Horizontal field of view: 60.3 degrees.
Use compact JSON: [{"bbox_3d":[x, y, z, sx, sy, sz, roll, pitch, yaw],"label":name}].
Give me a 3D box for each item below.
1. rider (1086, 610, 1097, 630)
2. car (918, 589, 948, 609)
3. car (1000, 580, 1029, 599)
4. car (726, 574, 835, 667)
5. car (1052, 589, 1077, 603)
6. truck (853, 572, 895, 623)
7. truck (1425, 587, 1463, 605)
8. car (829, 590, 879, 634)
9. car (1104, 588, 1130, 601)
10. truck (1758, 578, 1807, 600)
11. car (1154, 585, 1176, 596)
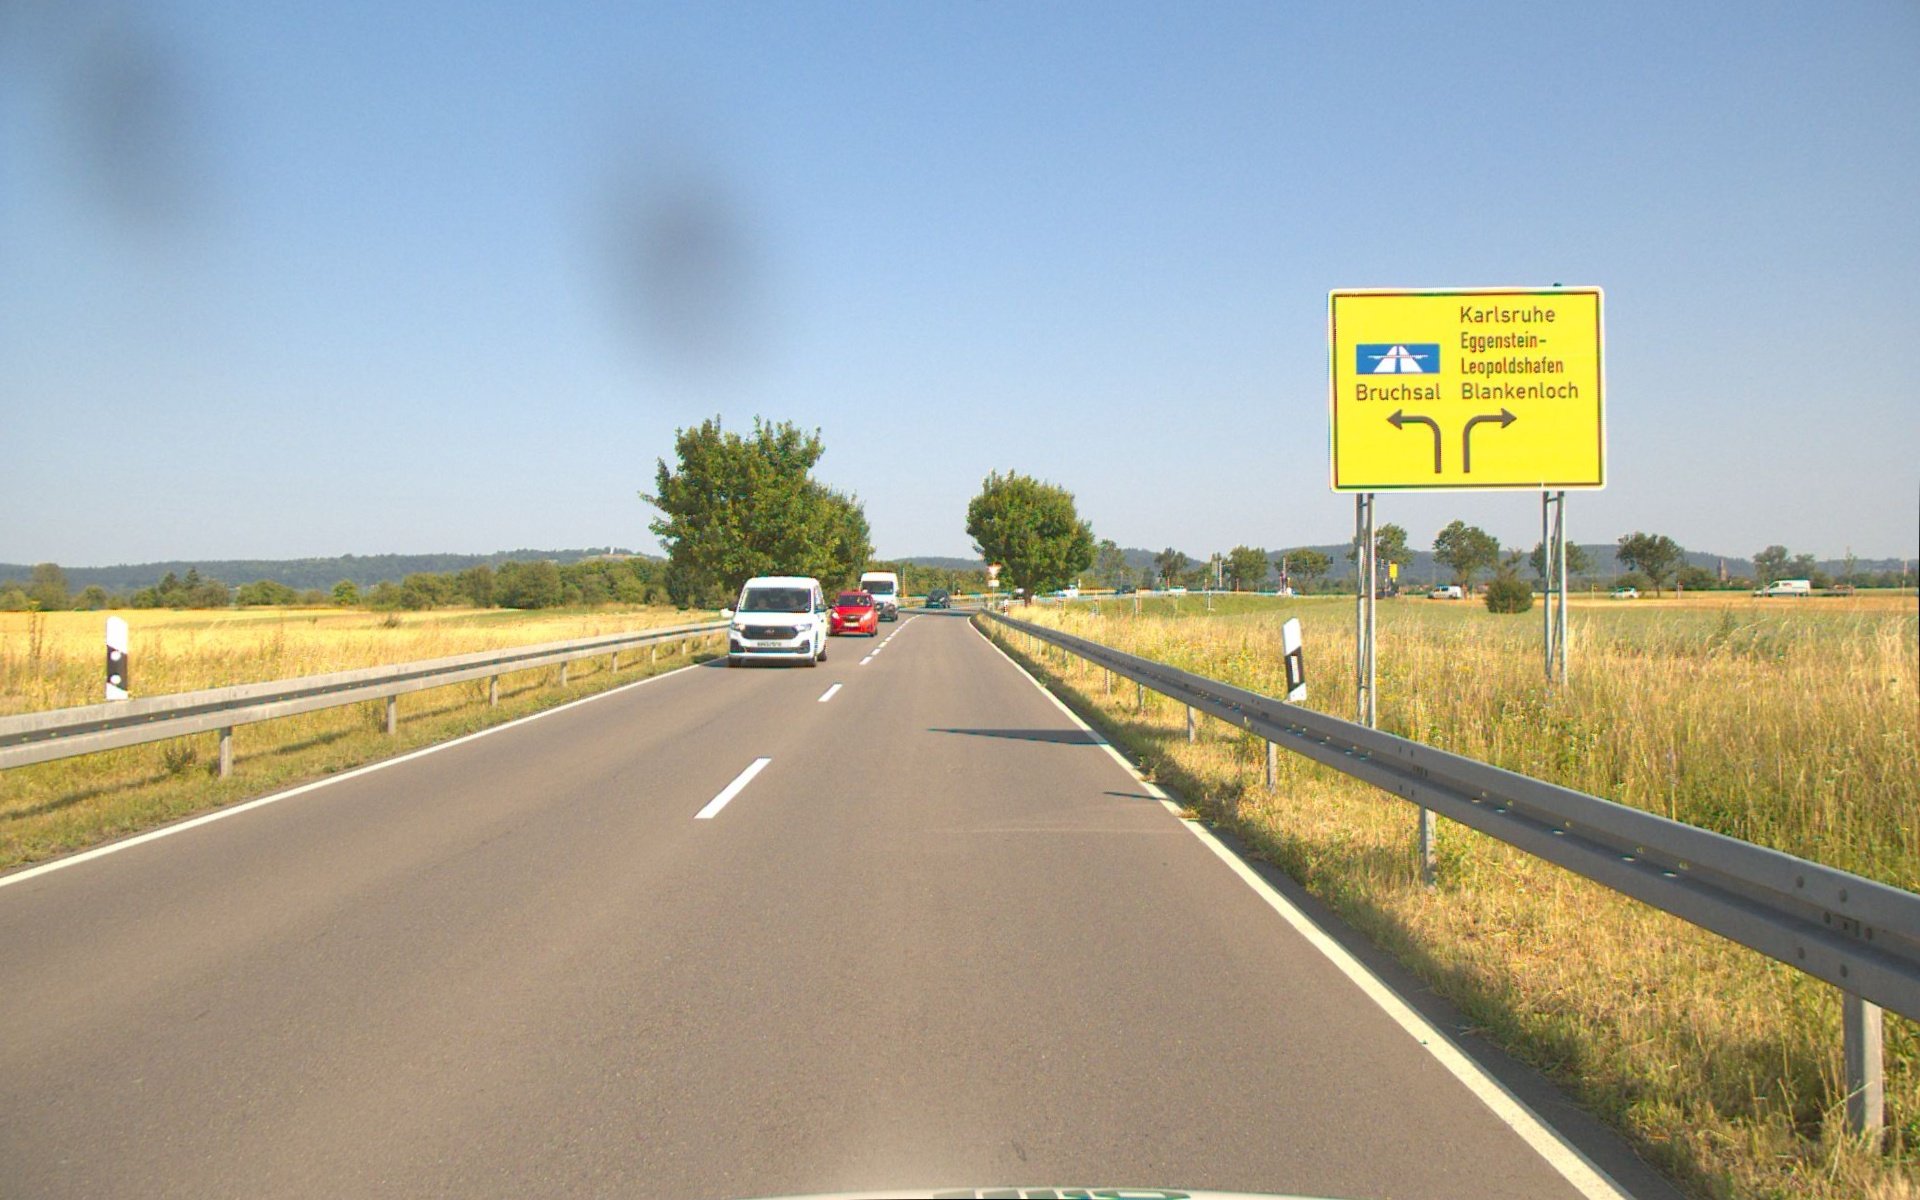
[{"bbox_3d":[10.414,1.613,130.957,0.596,1.554,1.827,1,-1,12],"label":"rider"},{"bbox_3d":[-2.144,-0.077,132.030,1.609,1.497,3.810,1,0,10],"label":"car"},{"bbox_3d":[5.625,-1.077,170.073,1.951,1.917,4.595,1,0,15],"label":"car"},{"bbox_3d":[-3.691,0.388,34.672,1.799,1.818,4.434,0,0,0],"label":"car"},{"bbox_3d":[11.788,-0.424,186.707,1.862,1.559,4.594,1,0,16],"label":"car"},{"bbox_3d":[-4.485,-0.154,86.718,1.953,2.564,6.242,0,0,-1],"label":"truck"},{"bbox_3d":[71.008,-0.552,242.650,4.976,2.573,1.988,0,-1,42],"label":"truck"},{"bbox_3d":[-3.703,0.407,58.207,1.574,1.514,3.779,0,0,-1],"label":"car"},{"bbox_3d":[19.739,-0.635,207.735,1.953,1.559,4.591,1,0,21],"label":"car"},{"bbox_3d":[108.018,-1.442,217.216,5.479,2.742,3.286,1,-1,32],"label":"truck"},{"bbox_3d":[28.880,-1.331,233.150,1.953,1.559,4.591,1,0,21],"label":"car"}]
